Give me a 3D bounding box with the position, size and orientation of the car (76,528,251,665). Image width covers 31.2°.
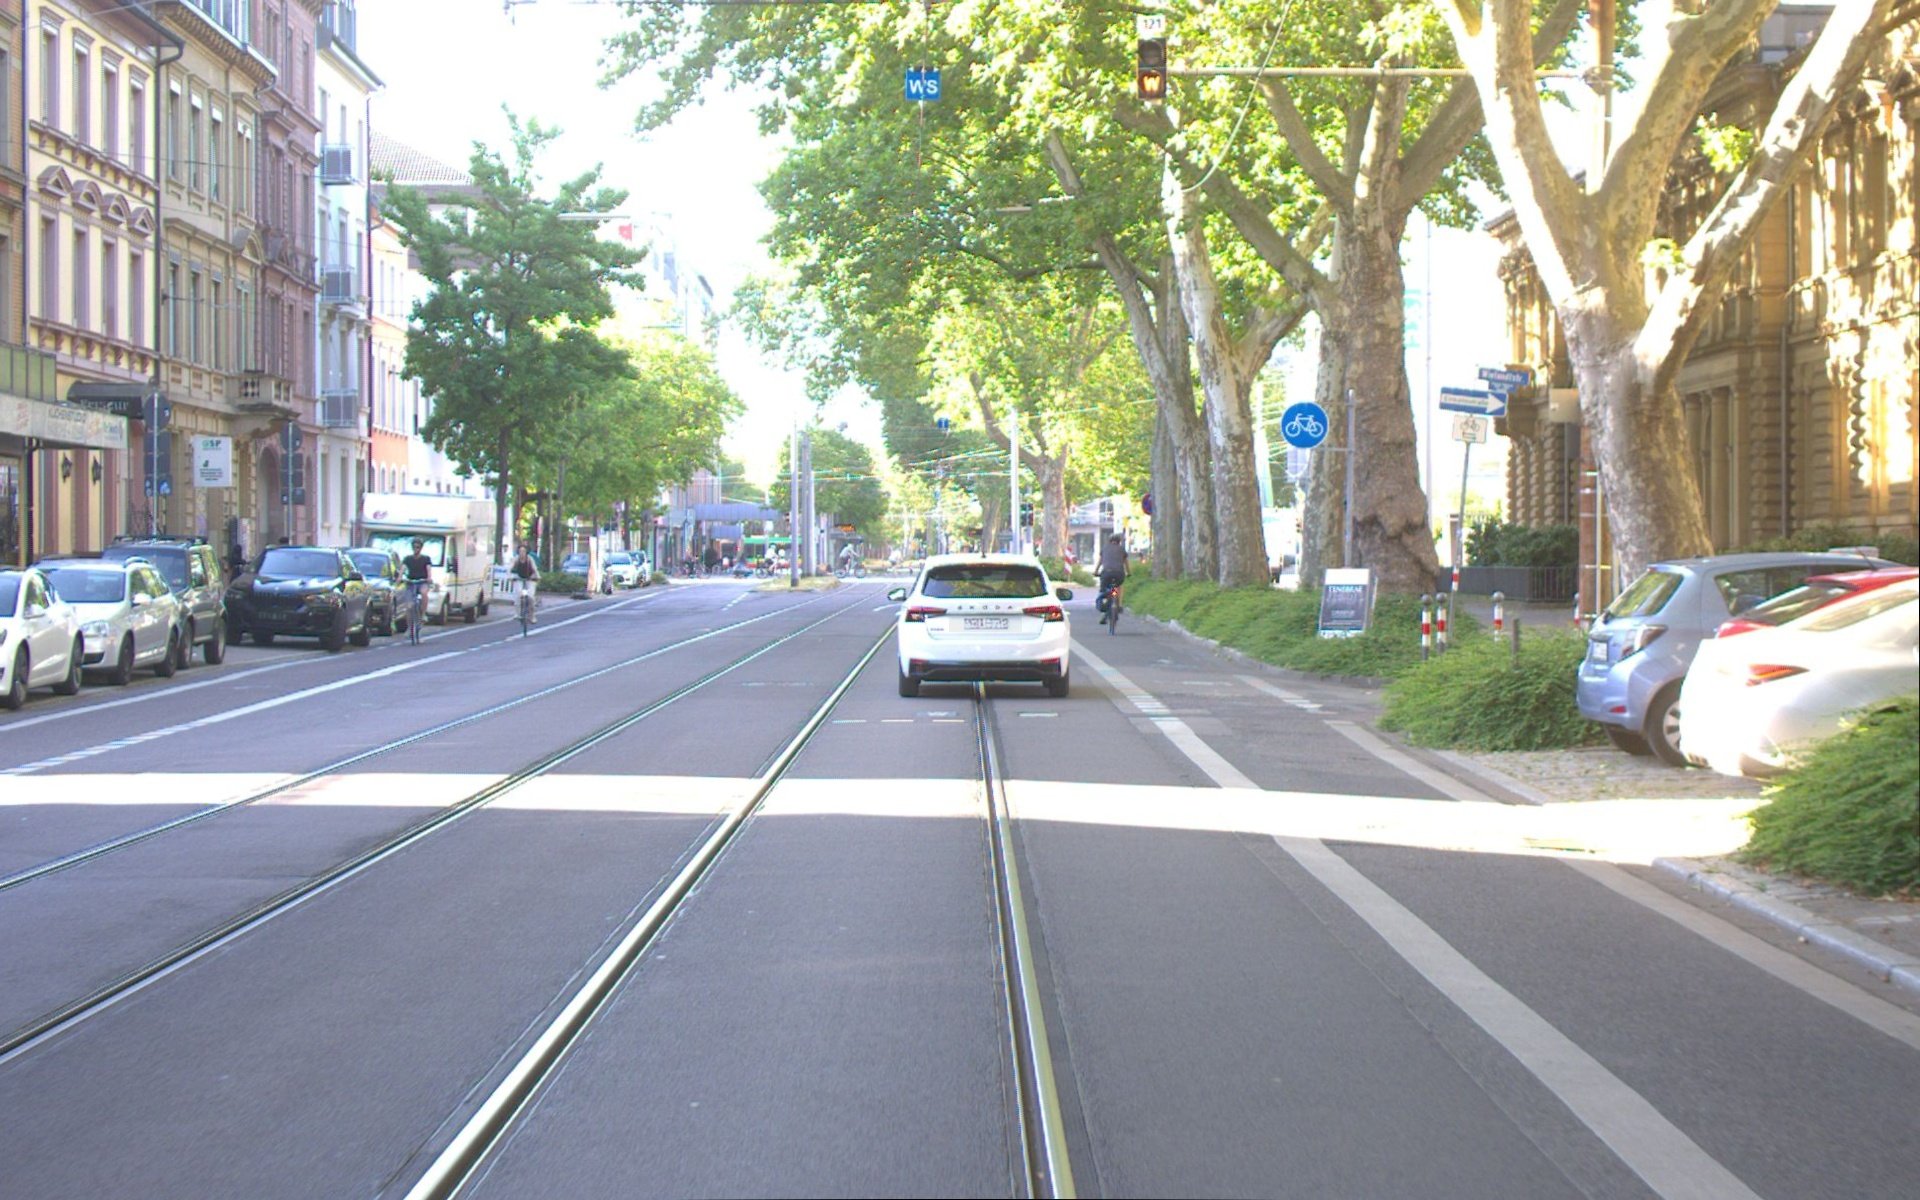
[{"bbox_3d":[-10.614,-0.080,46.024,1.555,1.726,3.686,1,1,-2],"label":"car"}]

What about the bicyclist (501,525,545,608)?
[{"bbox_3d":[-8.000,-0.621,62.957,0.638,1.498,1.070,-1,1,0],"label":"bicyclist"}]

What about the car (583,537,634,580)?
[{"bbox_3d":[-14.274,-1.689,139.616,1.794,1.720,3.785,1,1,-2],"label":"car"}]

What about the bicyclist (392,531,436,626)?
[{"bbox_3d":[-9.463,-0.375,59.605,0.535,1.629,0.896,-2,1,1],"label":"bicyclist"}]

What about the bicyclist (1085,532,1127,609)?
[{"bbox_3d":[2.561,-0.515,60.449,0.679,1.334,0.525,1,1,-1],"label":"bicyclist"}]

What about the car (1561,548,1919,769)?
[{"bbox_3d":[6.384,0.408,24.821,3.751,1.503,1.681,1,1,0],"label":"car"}]

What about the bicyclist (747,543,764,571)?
[{"bbox_3d":[-10.883,-2.293,182.977,0.631,1.517,0.610,-2,2,-35],"label":"bicyclist"}]

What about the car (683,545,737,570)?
[{"bbox_3d":[-18.921,-3.232,260.177,3.794,1.812,1.803,1,1,5],"label":"car"}]

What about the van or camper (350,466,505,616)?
[{"bbox_3d":[-11.736,-1.304,76.308,2.216,3.129,7.113,1,1,1],"label":"van or camper"}]

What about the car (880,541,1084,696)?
[{"bbox_3d":[0.171,0.159,35.298,1.842,1.475,3.839,1,1,-3],"label":"car"}]

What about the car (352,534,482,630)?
[{"bbox_3d":[-10.478,-0.370,66.630,1.964,1.775,4.471,1,1,-2],"label":"car"}]

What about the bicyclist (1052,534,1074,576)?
[{"bbox_3d":[3.886,-1.687,129.595,0.737,1.583,0.586,0,1,12],"label":"bicyclist"}]

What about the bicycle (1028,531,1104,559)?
[{"bbox_3d":[3.986,-2.066,129.552,2.771,0.996,0.592,1,1,14],"label":"bicycle"}]

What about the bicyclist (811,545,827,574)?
[{"bbox_3d":[-7.600,-2.165,184.875,0.631,1.517,0.610,-2,2,-35],"label":"bicyclist"}]

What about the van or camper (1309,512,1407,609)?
[{"bbox_3d":[10.526,-1.057,91.251,2.027,2.455,5.108,1,1,1],"label":"van or camper"}]

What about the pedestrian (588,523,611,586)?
[{"bbox_3d":[-11.452,-1.451,109.246,0.601,1.996,0.749,1,1,4],"label":"pedestrian"}]

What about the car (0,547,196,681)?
[{"bbox_3d":[-10.655,0.127,41.818,1.827,1.497,4.450,1,1,-2],"label":"car"}]

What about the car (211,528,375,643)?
[{"bbox_3d":[-11.255,-0.279,58.305,1.964,1.775,4.938,3,1,-3],"label":"car"}]

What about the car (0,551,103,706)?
[{"bbox_3d":[-10.484,0.246,36.459,1.827,1.497,4.689,1,1,-3],"label":"car"}]

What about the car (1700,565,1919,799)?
[{"bbox_3d":[6.848,0.461,22.040,3.750,1.382,1.682,-2,1,-6],"label":"car"}]

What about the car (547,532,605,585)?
[{"bbox_3d":[-12.880,-1.409,115.413,1.641,1.720,3.785,1,1,-2],"label":"car"}]

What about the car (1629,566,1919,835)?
[{"bbox_3d":[6.167,0.513,19.745,4.286,1.412,1.760,-1,1,1],"label":"car"}]

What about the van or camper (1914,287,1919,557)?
[{"bbox_3d":[6.295,0.116,10.912,5.814,2.510,2.288,-2,2,-3],"label":"van or camper"}]

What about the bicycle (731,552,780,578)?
[{"bbox_3d":[-10.889,-1.872,182.968,2.680,1.323,0.615,-1,1,-35],"label":"bicycle"}]

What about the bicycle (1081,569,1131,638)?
[{"bbox_3d":[2.549,0.055,60.188,0.680,1.151,2.964,1,1,-1],"label":"bicycle"}]

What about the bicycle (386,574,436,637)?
[{"bbox_3d":[-9.509,0.091,59.570,0.484,1.044,2.039,-2,1,1],"label":"bicycle"}]

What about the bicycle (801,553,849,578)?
[{"bbox_3d":[-7.284,-1.854,185.086,2.680,1.323,0.615,-1,1,-35],"label":"bicycle"}]

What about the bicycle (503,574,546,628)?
[{"bbox_3d":[-7.981,0.017,63.047,0.499,0.940,1.921,-2,1,1],"label":"bicycle"}]

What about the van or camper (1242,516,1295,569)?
[{"bbox_3d":[14.049,-2.598,156.650,1.993,2.335,4.000,1,1,0],"label":"van or camper"}]
